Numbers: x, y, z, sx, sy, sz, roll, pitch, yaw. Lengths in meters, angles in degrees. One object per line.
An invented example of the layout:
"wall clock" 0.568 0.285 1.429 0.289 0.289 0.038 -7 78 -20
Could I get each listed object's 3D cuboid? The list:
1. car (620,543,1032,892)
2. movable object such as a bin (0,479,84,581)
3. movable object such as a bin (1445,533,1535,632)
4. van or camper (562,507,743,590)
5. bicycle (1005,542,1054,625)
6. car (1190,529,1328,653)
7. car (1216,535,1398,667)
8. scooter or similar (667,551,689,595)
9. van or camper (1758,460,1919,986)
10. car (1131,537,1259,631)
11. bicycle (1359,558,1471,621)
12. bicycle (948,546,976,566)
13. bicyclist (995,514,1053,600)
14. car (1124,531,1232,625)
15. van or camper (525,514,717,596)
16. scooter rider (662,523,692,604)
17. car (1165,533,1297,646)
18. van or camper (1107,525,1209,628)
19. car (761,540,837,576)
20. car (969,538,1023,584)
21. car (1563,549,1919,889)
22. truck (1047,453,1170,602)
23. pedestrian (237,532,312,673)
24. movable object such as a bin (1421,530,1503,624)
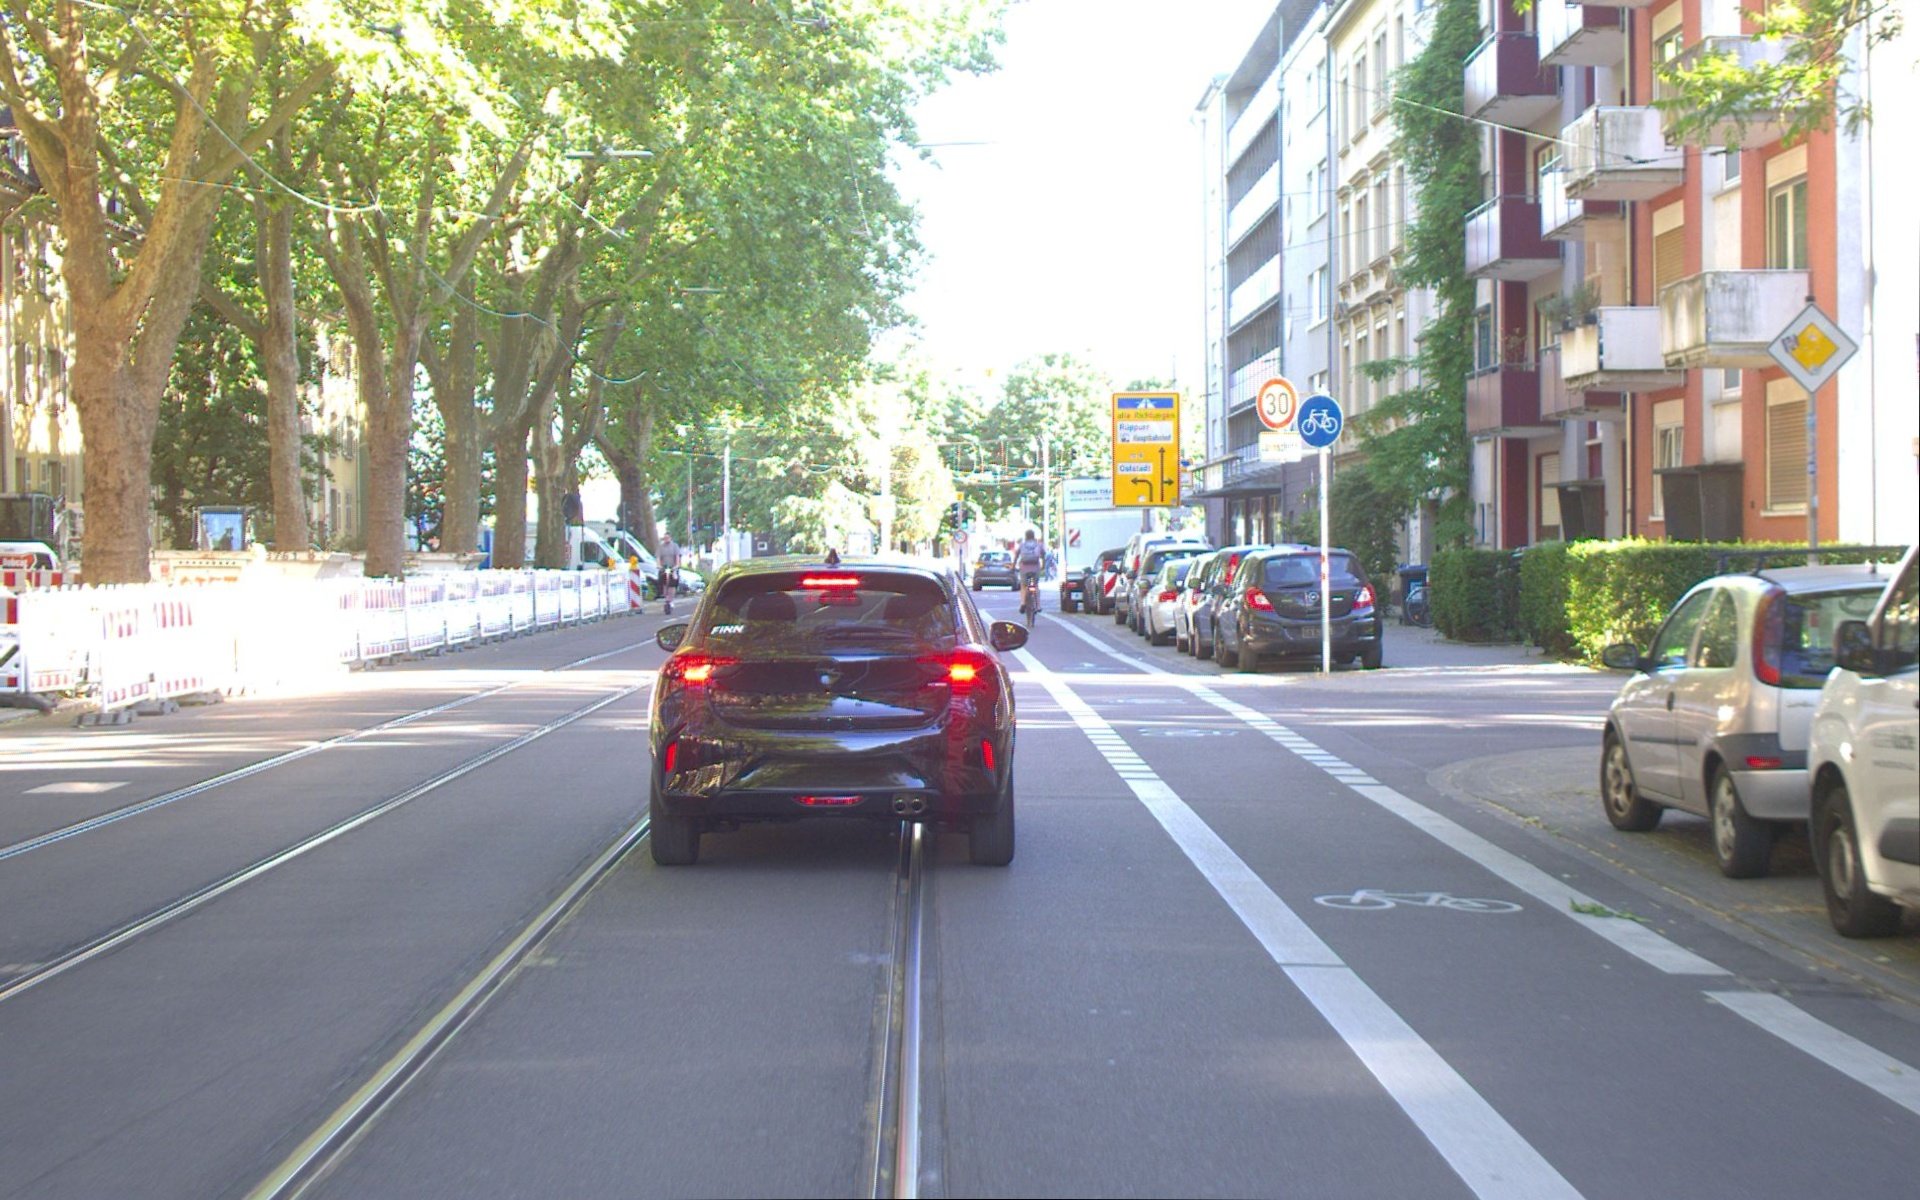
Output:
"car" -0.609 0.478 16.953 1.781 1.491 4.000 0 1 -1
"movable object such as a bin" -17.368 -1.303 64.498 1.333 1.862 2.008 1 1 0
"movable object such as a bin" 7.333 -0.248 47.644 0.967 1.322 1.721 1 1 0
"van or camper" -10.150 -1.700 113.751 5.724 2.635 2.269 1 1 0
"bicycle" 1.338 -0.347 66.722 0.916 1.555 3.405 0 1 1
"car" 3.991 -0.136 46.376 1.526 1.584 3.752 1 1 0
"car" 4.181 -0.025 41.954 1.733 1.457 3.916 -2 1 -1
"scooter or similar" -6.871 -0.659 83.670 0.407 1.079 1.338 1 1 0
"van or camper" 4.259 0.425 12.017 1.755 1.858 4.831 -1 1 -1
"car" 3.799 -0.292 56.152 1.659 1.394 4.740 -2 1 -1
"bicycle" 7.927 -0.186 59.950 1.894 1.026 0.476 -2 1 5
"bicycle" 0.116 -2.221 173.922 0.789 0.988 2.241 1 1 16
"bicyclist" 1.235 -0.834 66.442 1.089 1.641 1.400 0 1 1
"car" 3.841 -0.408 61.120 1.660 1.575 3.589 -1 1 0
"van or camper" -10.262 -1.362 104.421 5.502 2.371 2.269 1 1 3
"scooter rider" -6.889 -0.885 83.619 0.649 1.950 0.624 1 0 0
"car" 3.936 -0.171 50.394 1.591 1.521 3.835 -2 1 0
"van or camper" 3.780 -0.479 66.171 1.669 1.876 4.211 -1 1 0
"car" -8.232 -2.140 175.770 1.917 1.690 4.322 -3 1 -33
"car" 1.406 -1.567 136.165 1.993 1.690 4.740 -2 1 -1
"car" 4.276 0.504 17.358 1.705 1.468 4.000 -1 1 -1
"truck" 3.531 -1.742 83.409 2.538 3.326 7.195 -3 1 0
"pedestrian" -8.184 0.025 41.072 0.716 1.663 0.779 1 0 0
"movable object such as a bin" 7.220 -0.339 49.506 0.923 1.322 1.682 1 1 0
